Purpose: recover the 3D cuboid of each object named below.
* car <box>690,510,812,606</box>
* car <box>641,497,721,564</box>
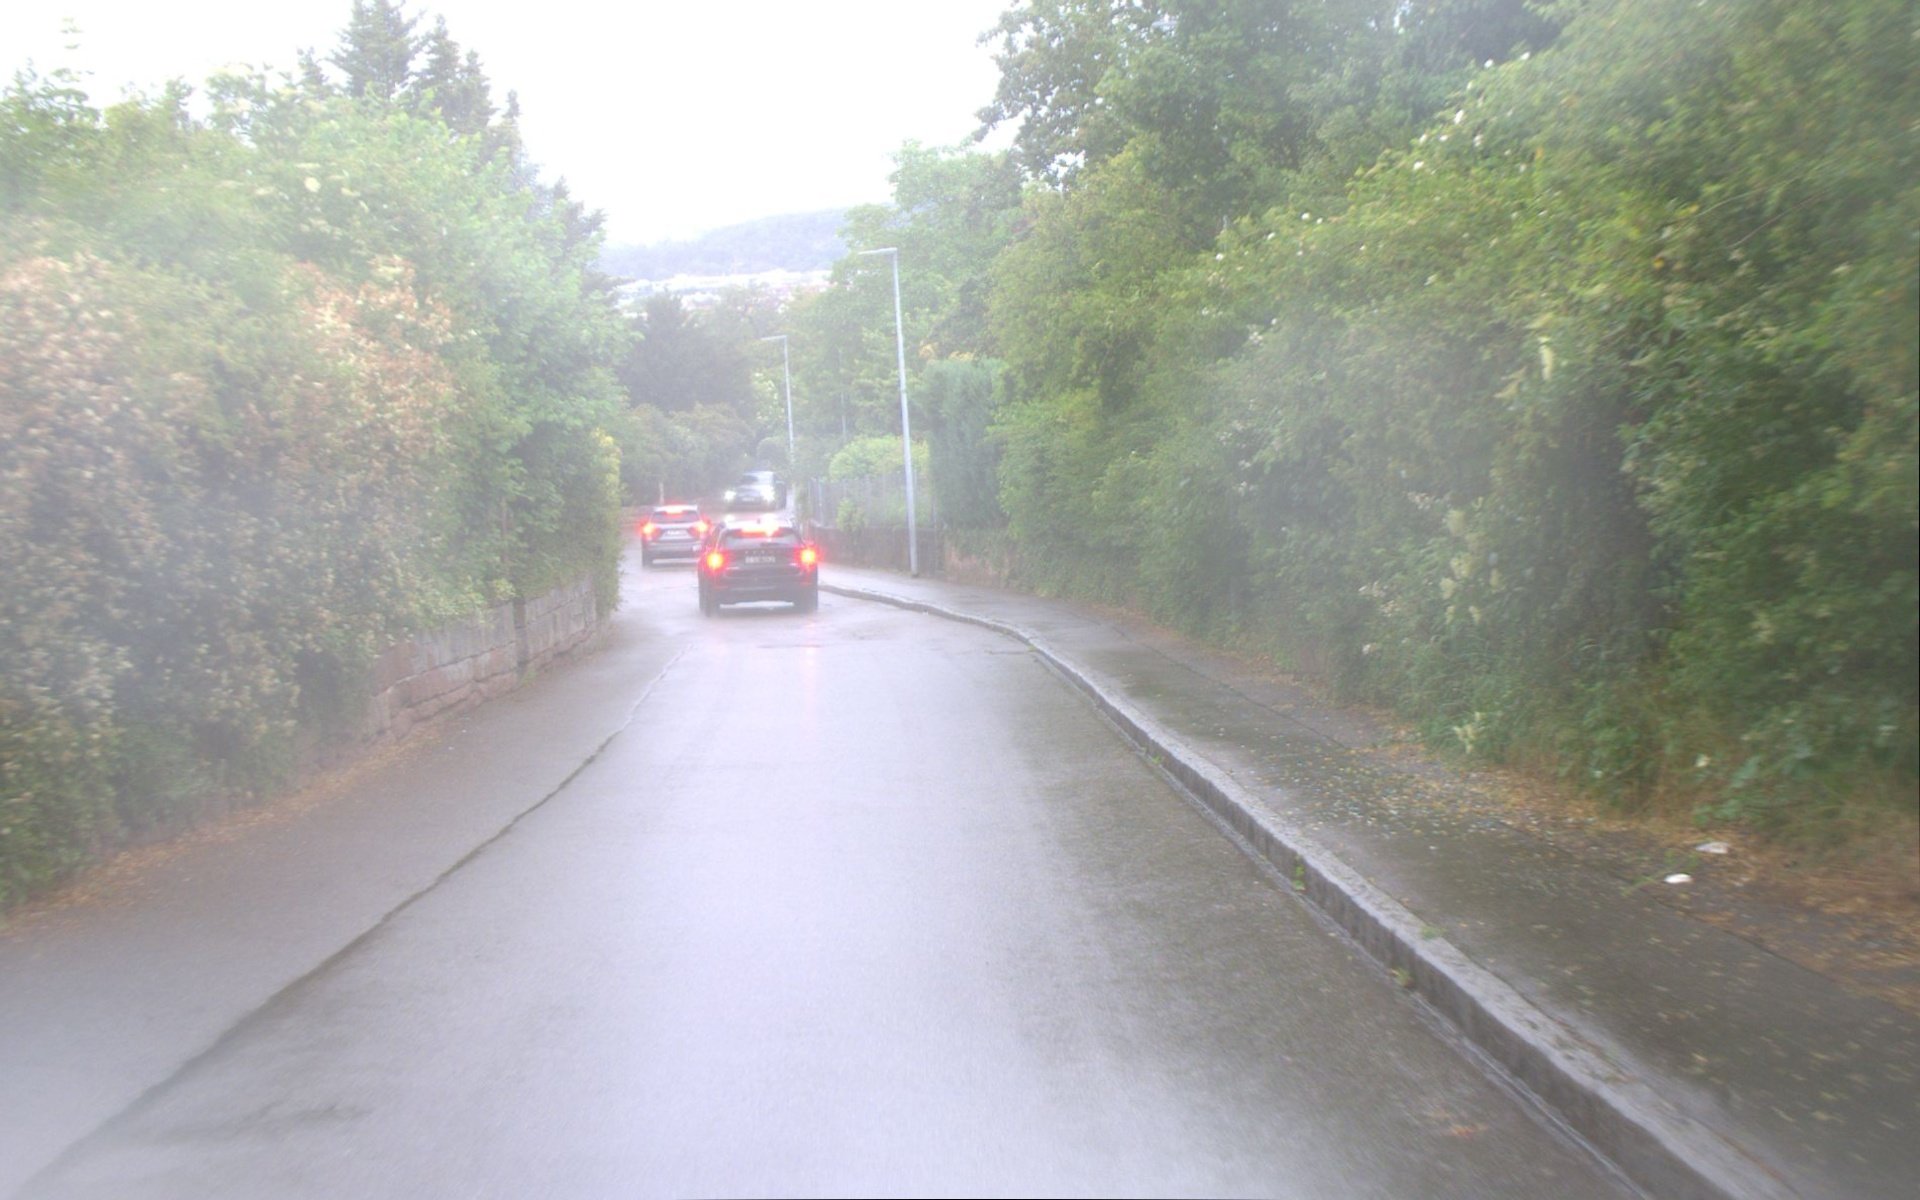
[{"bbox_3d":[-3.331,-0.686,54.263,1.834,1.459,4.001,0,1,-5],"label":"car"},{"bbox_3d":[-7.249,-1.827,89.474,1.678,1.559,3.795,-1,3,1],"label":"car"}]
